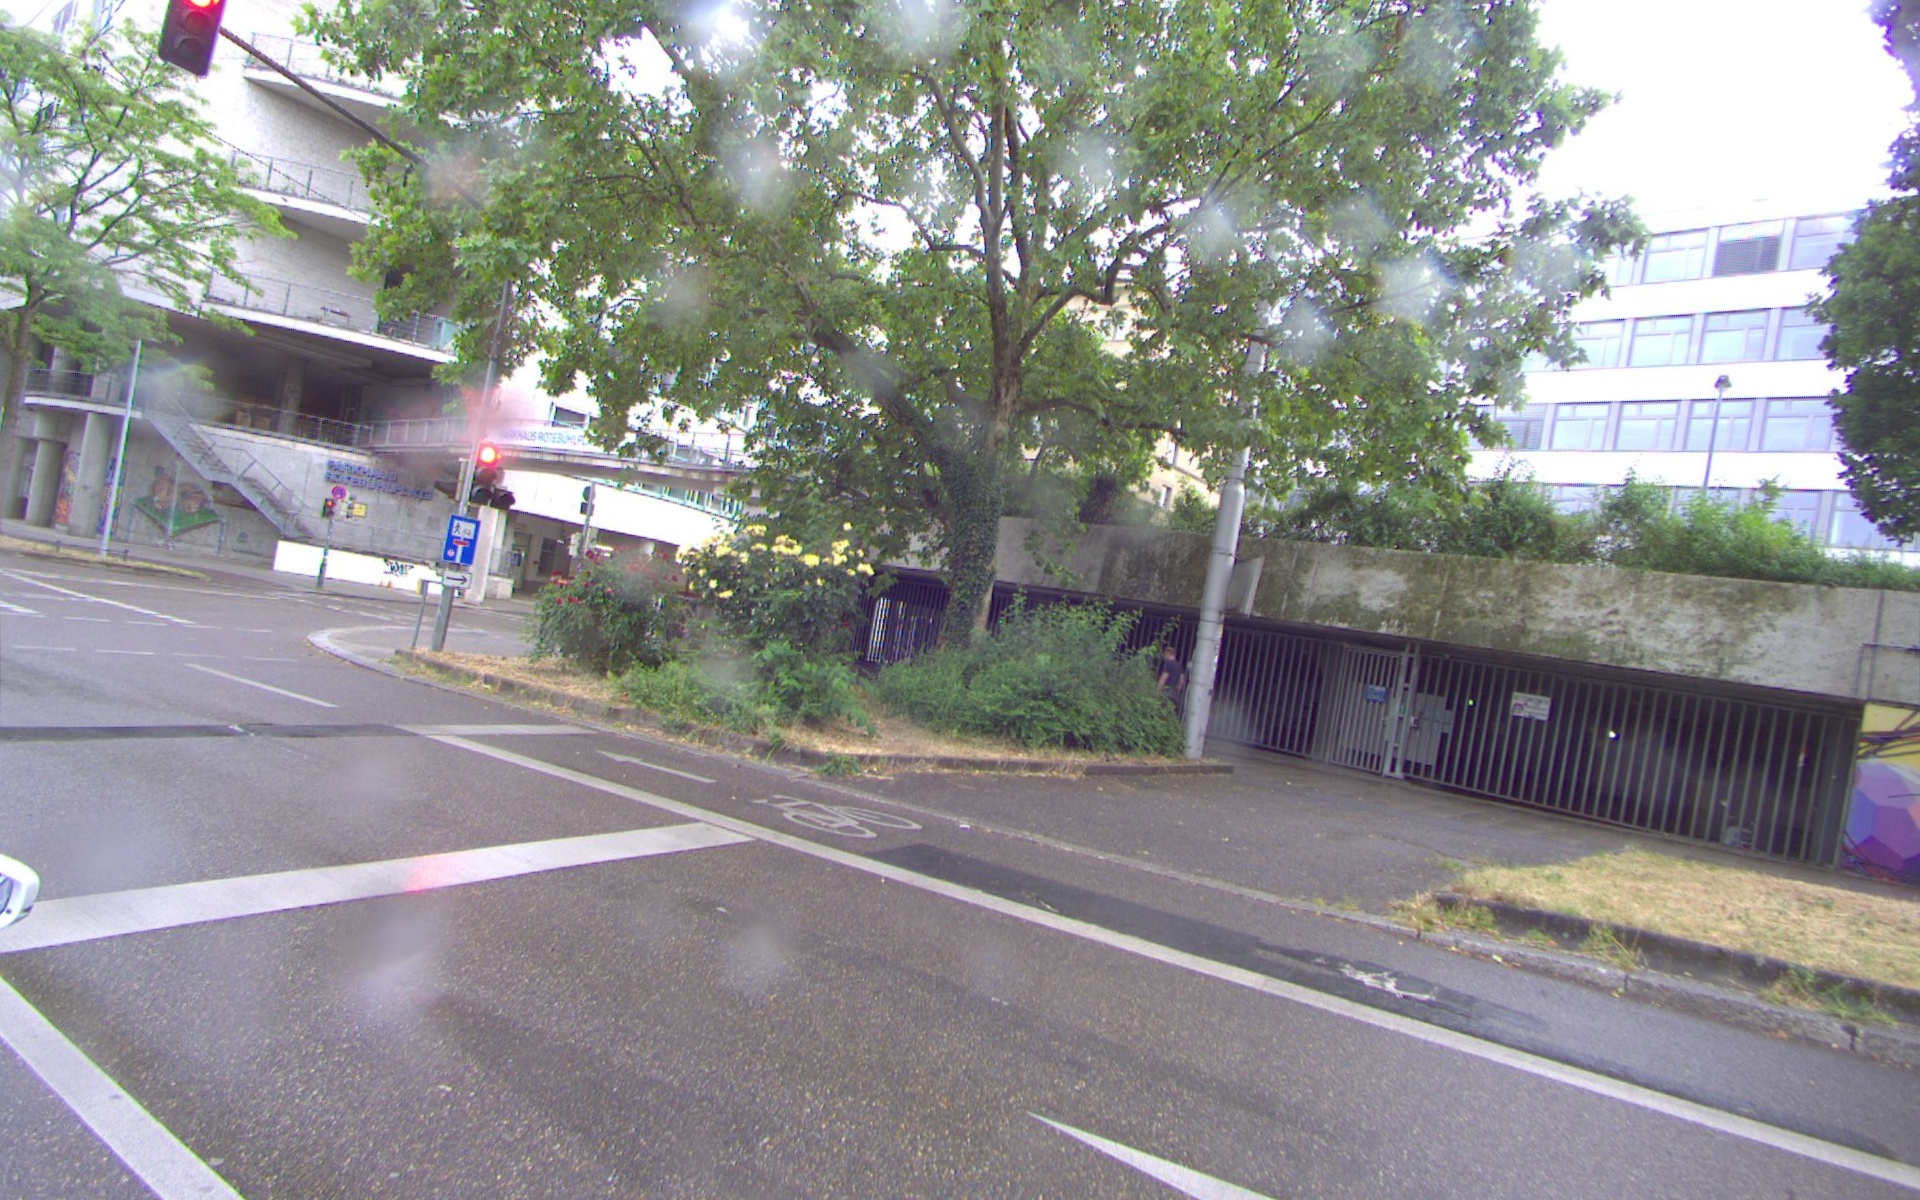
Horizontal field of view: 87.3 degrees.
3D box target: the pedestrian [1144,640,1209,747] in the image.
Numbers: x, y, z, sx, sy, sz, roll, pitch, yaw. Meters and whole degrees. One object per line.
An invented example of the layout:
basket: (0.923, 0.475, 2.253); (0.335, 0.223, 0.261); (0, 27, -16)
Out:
pedestrian: (4.184, 1.808, 19.431); (0.745, 1.932, 0.847); (8, -1, 31)
